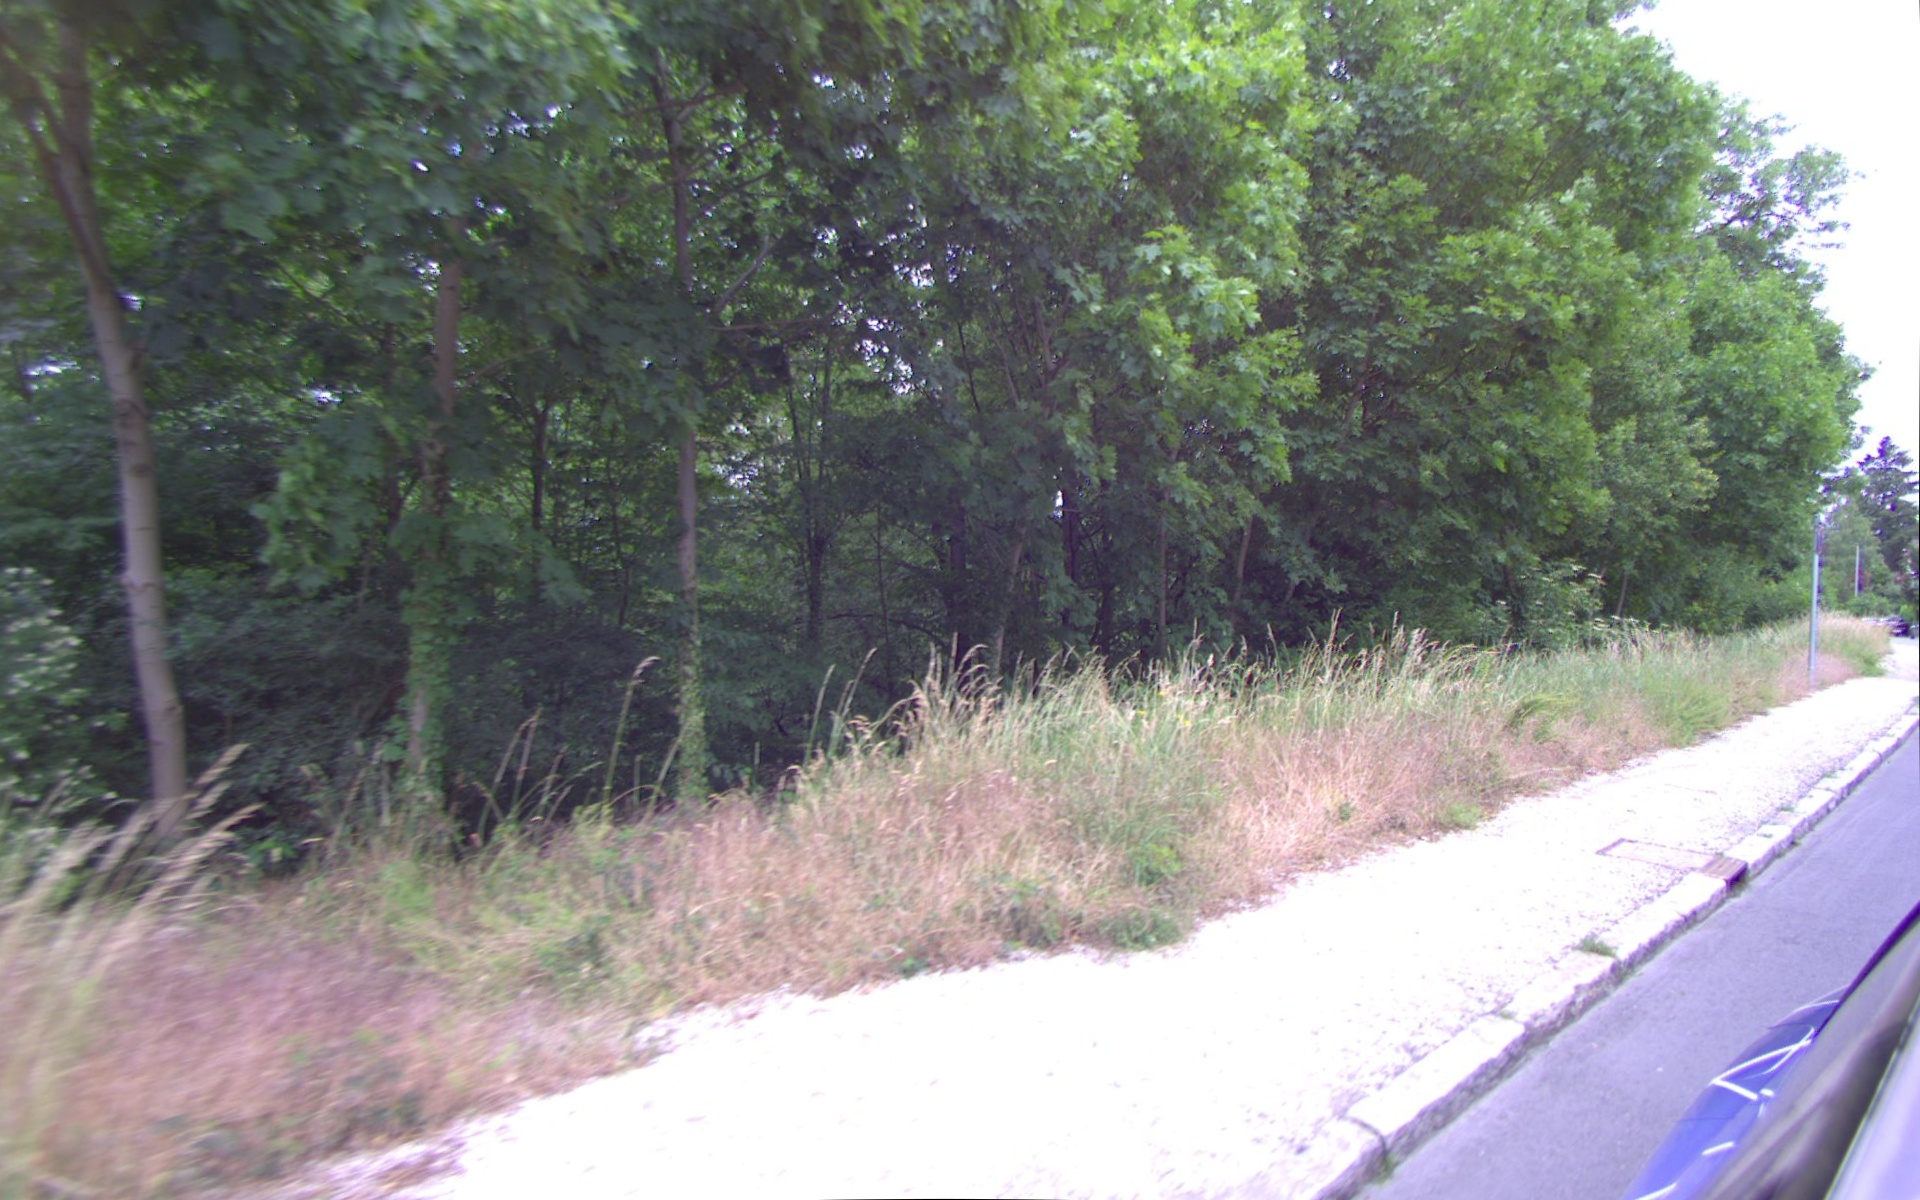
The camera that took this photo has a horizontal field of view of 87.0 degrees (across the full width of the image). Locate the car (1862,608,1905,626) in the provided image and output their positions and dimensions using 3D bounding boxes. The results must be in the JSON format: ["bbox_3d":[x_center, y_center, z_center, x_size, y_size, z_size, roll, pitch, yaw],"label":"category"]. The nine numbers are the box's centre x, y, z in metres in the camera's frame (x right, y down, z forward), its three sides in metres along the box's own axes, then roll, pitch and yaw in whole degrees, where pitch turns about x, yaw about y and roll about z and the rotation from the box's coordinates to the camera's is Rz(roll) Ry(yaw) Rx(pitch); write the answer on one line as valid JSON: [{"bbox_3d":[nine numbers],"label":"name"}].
[{"bbox_3d":[74.883,1.366,82.087,1.698,1.434,4.105,1,0,30],"label":"car"}]

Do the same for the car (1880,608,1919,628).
[{"bbox_3d":[72.611,1.368,77.997,1.698,1.434,4.088,1,0,30],"label":"car"}]
